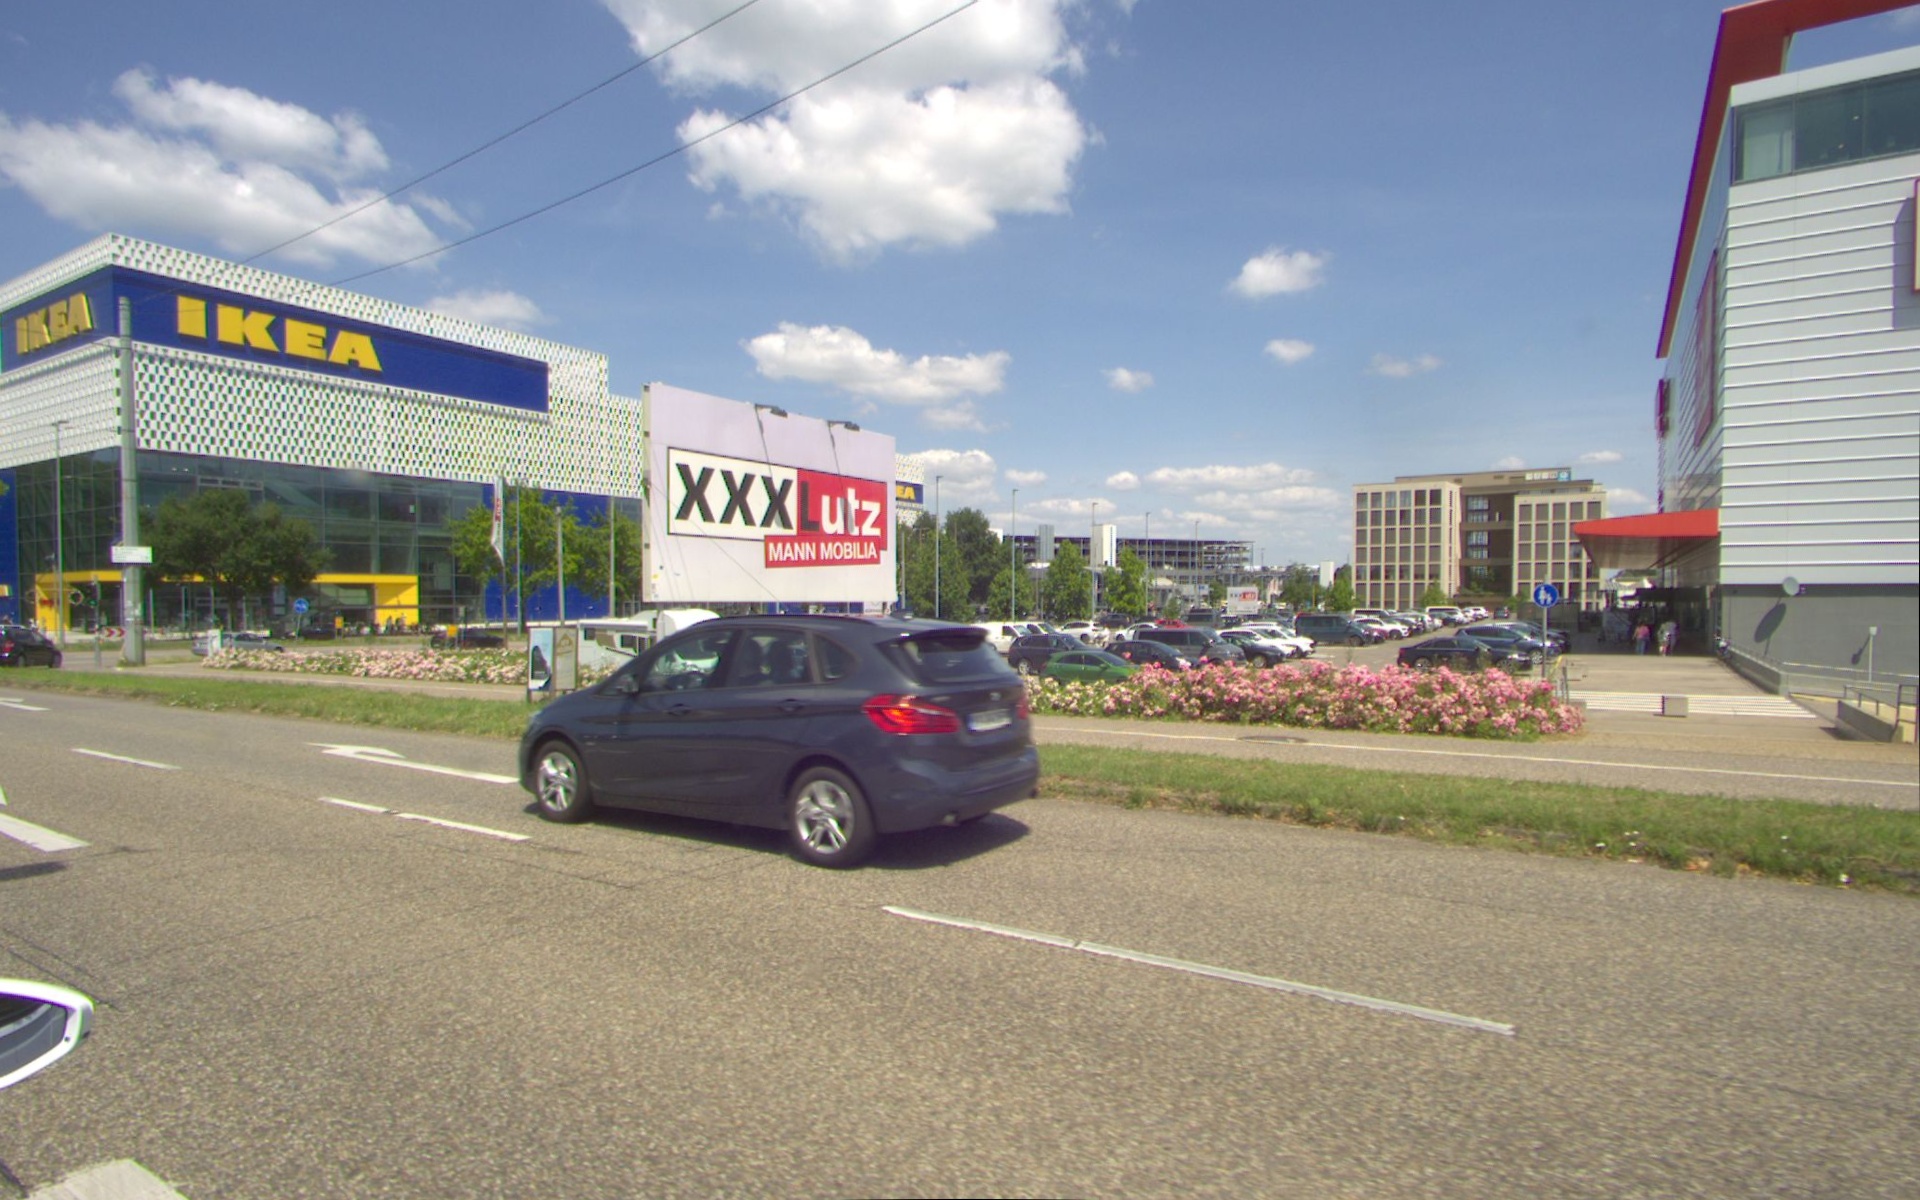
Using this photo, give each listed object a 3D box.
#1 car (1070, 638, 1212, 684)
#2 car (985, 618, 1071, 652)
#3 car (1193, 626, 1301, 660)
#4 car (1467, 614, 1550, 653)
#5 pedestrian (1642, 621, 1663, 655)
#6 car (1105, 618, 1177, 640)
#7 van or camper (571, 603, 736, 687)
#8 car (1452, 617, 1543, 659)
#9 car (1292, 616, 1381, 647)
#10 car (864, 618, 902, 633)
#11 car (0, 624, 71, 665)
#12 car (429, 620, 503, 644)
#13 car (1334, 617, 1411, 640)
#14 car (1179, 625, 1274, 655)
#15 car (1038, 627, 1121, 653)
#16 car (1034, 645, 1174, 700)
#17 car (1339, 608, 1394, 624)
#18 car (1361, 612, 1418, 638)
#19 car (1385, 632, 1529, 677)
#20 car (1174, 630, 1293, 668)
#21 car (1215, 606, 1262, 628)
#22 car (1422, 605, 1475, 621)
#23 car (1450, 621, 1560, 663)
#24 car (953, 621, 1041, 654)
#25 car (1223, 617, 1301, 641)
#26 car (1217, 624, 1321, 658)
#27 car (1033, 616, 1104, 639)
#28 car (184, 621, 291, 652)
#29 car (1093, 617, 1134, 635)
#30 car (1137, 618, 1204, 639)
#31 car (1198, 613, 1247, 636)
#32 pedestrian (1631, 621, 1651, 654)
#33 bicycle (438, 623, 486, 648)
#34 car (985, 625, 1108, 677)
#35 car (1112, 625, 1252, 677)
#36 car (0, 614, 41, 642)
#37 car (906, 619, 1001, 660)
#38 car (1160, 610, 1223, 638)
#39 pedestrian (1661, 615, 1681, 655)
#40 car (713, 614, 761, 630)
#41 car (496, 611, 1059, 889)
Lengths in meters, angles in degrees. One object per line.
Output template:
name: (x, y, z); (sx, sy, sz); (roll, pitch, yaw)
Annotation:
car: (6.836, 2.284, 38.049); (4.929, 1.570, 1.990); (-1, -1, 33)
car: (4.105, 2.108, 60.951); (4.929, 2.033, 1.990); (0, -1, 33)
car: (14.481, 2.155, 50.666); (4.929, 1.631, 1.990); (-1, -1, 33)
car: (30.172, 1.817, 55.115); (3.943, 2.040, 1.990); (0, -1, 32)
pedestrian: (32.400, 1.756, 46.841); (0.725, 1.578, 0.739); (0, -1, 30)
car: (13.587, 2.145, 75.260); (4.929, 1.631, 1.990); (-1, -1, 33)
van or camper: (-12.225, 1.722, 39.617); (7.129, 3.059, 2.499); (-1, -1, 36)
car: (27.143, 1.901, 50.618); (3.943, 2.040, 1.990); (-1, -1, 32)
car: (24.352, 2.010, 64.843); (5.106, 1.889, 1.991); (0, -1, 31)
car: (-8.348, 2.822, 108.889); (1.970, 1.505, 4.371); (0, -2, 31)
car: (-36.526, 1.697, 38.613); (1.966, 1.505, 3.991); (2, -2, -20)
car: (-31.928, 2.055, 64.807); (1.712, 1.508, 3.977); (0, -1, 34)
car: (30.094, 2.047, 73.031); (4.929, 1.631, 1.990); (-1, -1, 33)
car: (15.154, 2.230, 57.051); (4.928, 1.631, 1.990); (0, -1, 32)
car: (7.678, 2.554, 64.588); (4.929, 1.631, 1.990); (-1, -1, 33)
car: (4.849, 2.401, 33.885); (4.242, 1.517, 1.988); (0, 2, 33)
car: (40.937, 1.605, 100.831); (4.929, 1.631, 1.990); (-1, -1, 33)
car: (34.085, 1.997, 79.443); (3.943, 2.040, 1.990); (-1, -1, 32)
car: (19.664, 2.103, 39.686); (4.929, 1.631, 1.990); (-1, -1, 33)
car: (12.586, 2.225, 46.158); (4.929, 1.631, 1.990); (-1, -1, 33)
car: (26.584, 1.649, 95.483); (3.943, 2.040, 1.990); (-1, -1, 32)
car: (51.663, 1.410, 105.890); (4.929, 1.631, 1.990); (-1, -1, 33)
car: (24.831, 1.898, 45.663); (4.271, 1.804, 1.990); (0, -2, 33)
car: (2.166, 2.178, 59.134); (4.929, 1.876, 1.990); (0, -1, 33)
car: (21.249, 2.058, 70.613); (4.929, 1.631, 1.990); (-1, -1, 33)
car: (16.274, 2.126, 52.831); (4.929, 1.672, 1.990); (-1, -1, 33)
car: (8.167, 2.055, 75.520); (4.921, 1.631, 1.993); (0, -1, 27)
car: (-36.785, 1.876, 51.126); (1.962, 1.505, 4.166); (1, -2, 12)
car: (16.124, 2.773, 105.396); (3.943, 1.863, 1.819); (-1, -1, 32)
car: (17.166, 2.303, 81.728); (4.929, 1.631, 1.990); (-1, -1, 33)
car: (23.988, 2.240, 91.556); (3.943, 2.040, 1.990); (-1, -1, 32)
pedestrian: (32.551, 1.772, 47.845); (0.725, 1.578, 0.739); (0, -1, 30)
bicycle: (-30.115, 2.136, 60.600); (0.976, 1.500, 2.415); (0, -1, 37)
car: (3.694, 2.134, 43.122); (4.929, 2.041, 1.989); (0, 1, 33)
car: (9.303, 2.077, 42.168); (5.456, 2.039, 1.990); (0, -1, 33)
car: (-52.926, 1.486, 54.135); (1.974, 1.505, 4.486); (0, -2, 36)
car: (-0.361, 2.127, 54.909); (4.929, 2.162, 1.990); (0, -1, 33)
car: (19.829, 2.061, 85.808); (4.929, 2.333, 1.990); (0, -1, 33)
pedestrian: (33.555, 1.657, 47.268); (0.725, 1.893, 0.739); (0, -1, 30)
car: (-22.296, 2.209, 100.351); (1.974, 1.505, 4.486); (0, -2, 36)
car: (-1.461, 0.863, 7.431); (4.042, 1.546, 1.757); (0, -1, 33)
